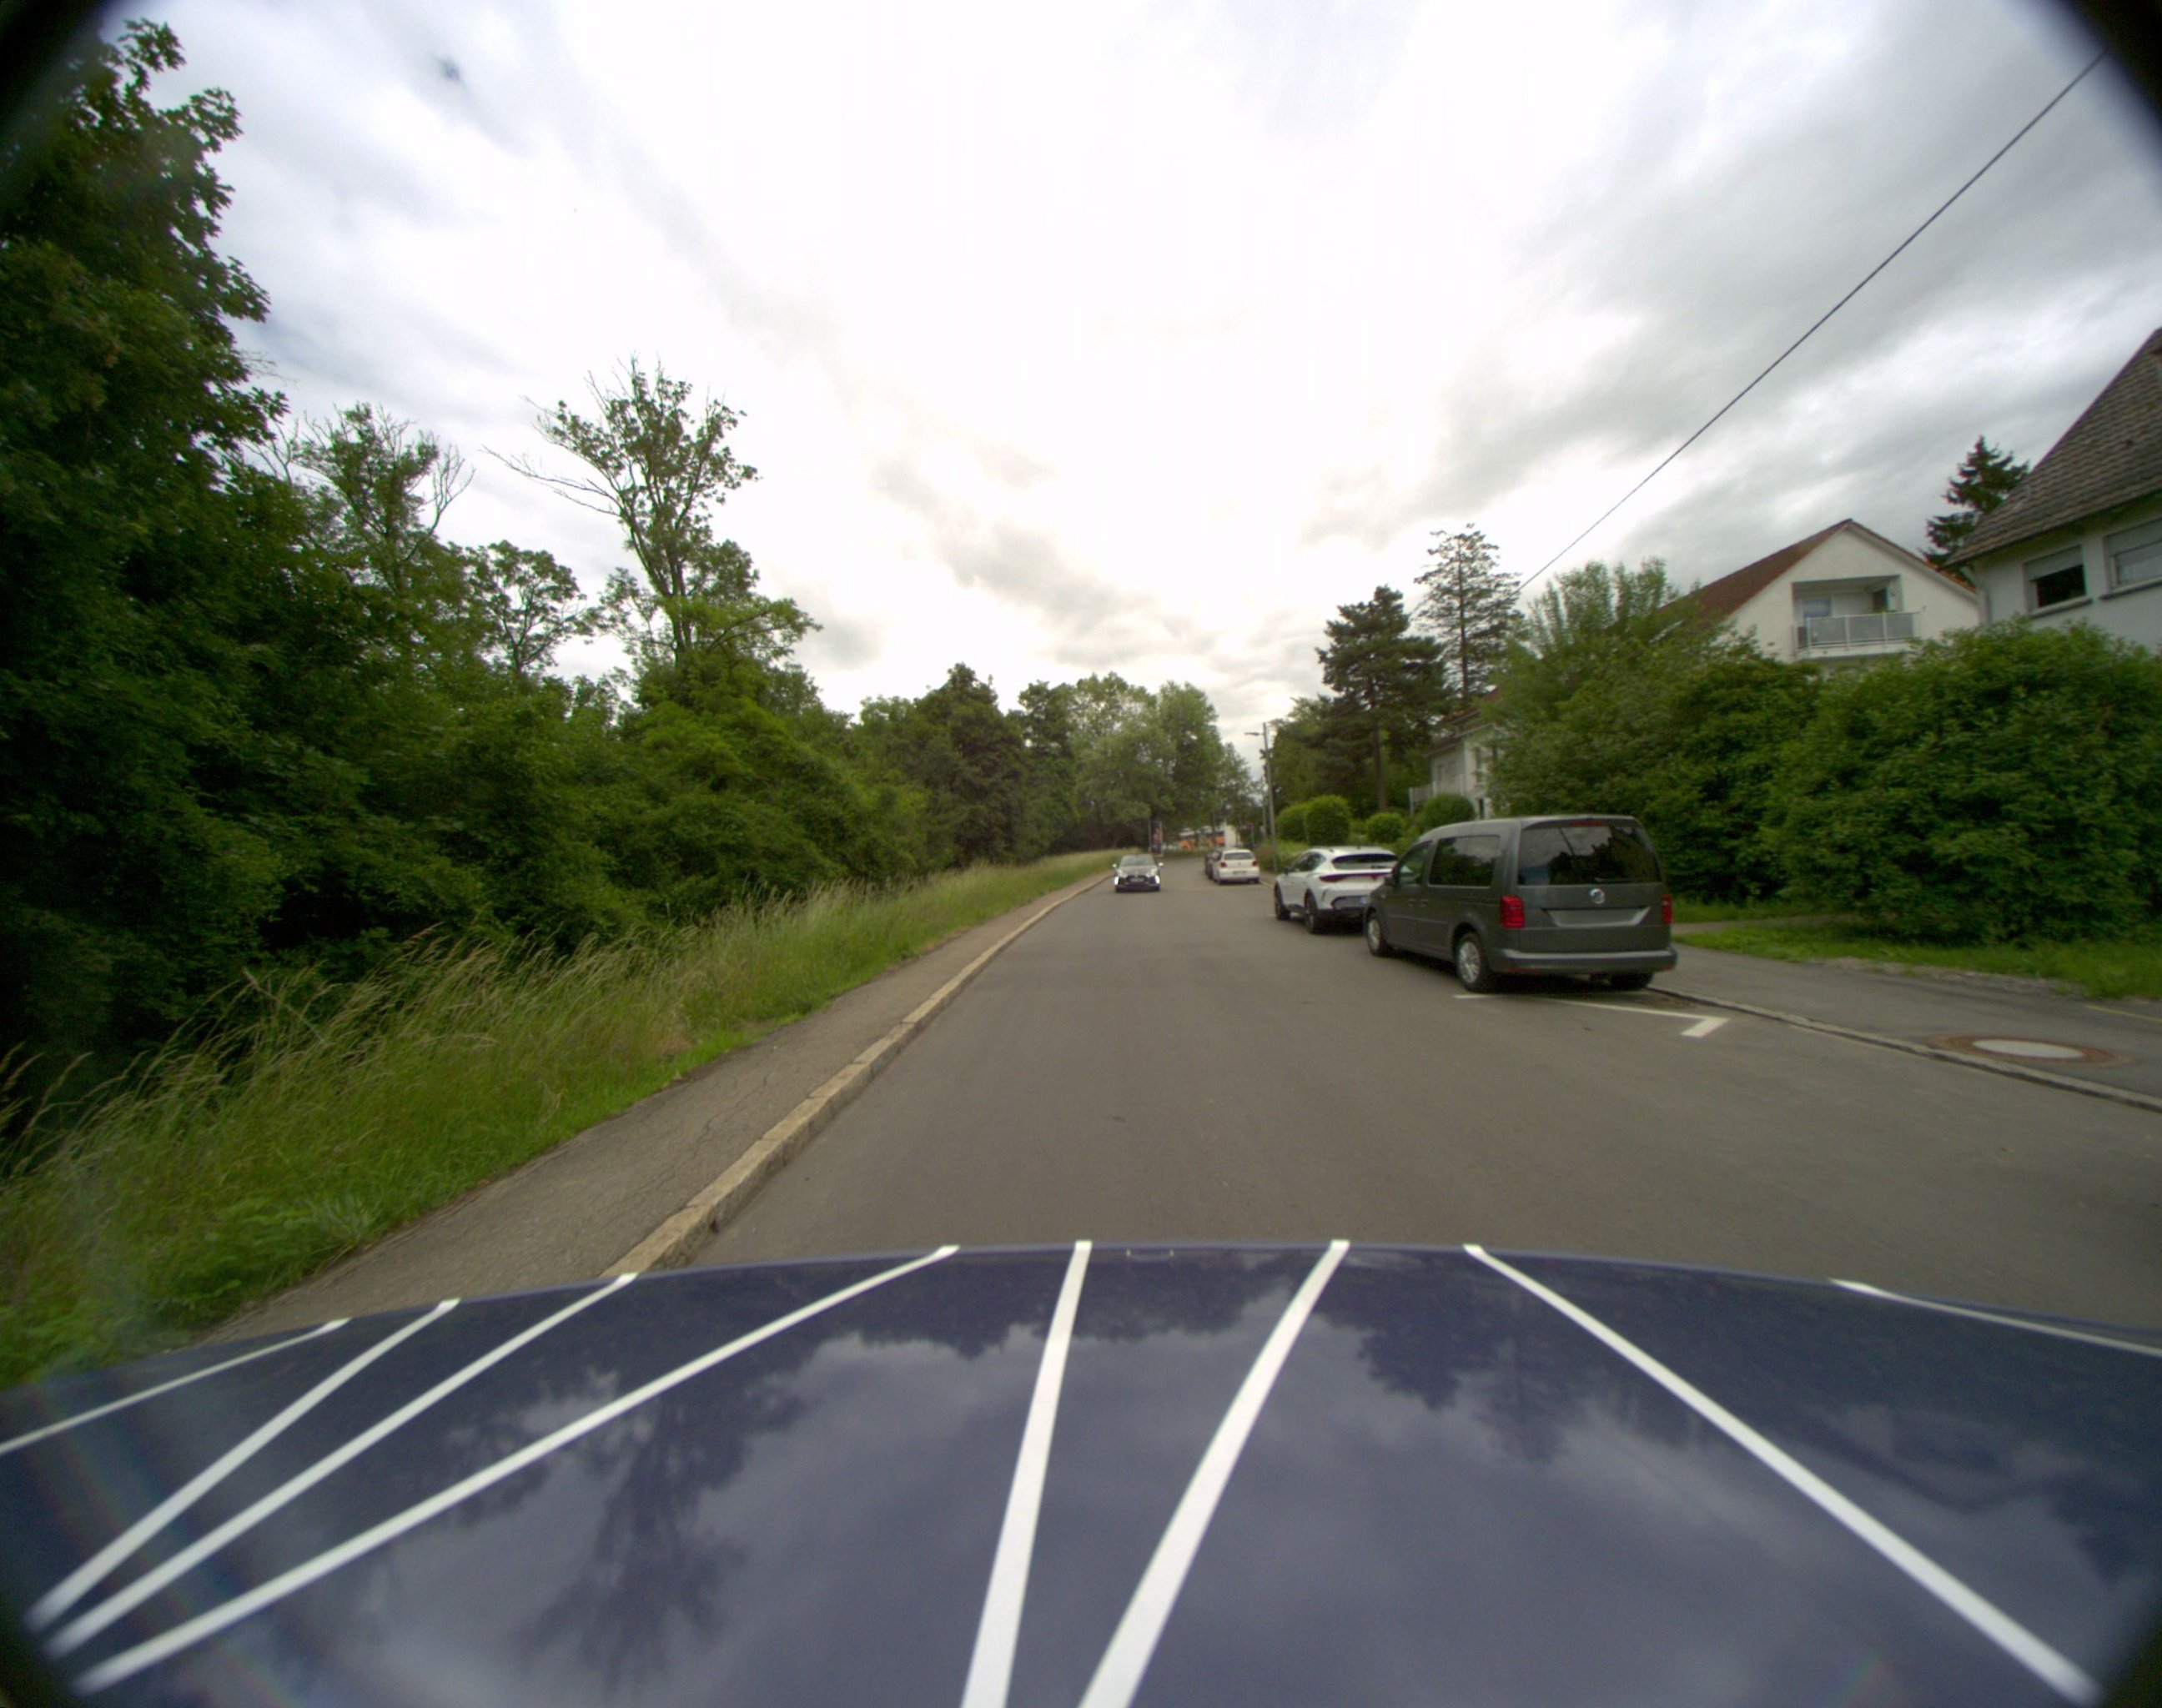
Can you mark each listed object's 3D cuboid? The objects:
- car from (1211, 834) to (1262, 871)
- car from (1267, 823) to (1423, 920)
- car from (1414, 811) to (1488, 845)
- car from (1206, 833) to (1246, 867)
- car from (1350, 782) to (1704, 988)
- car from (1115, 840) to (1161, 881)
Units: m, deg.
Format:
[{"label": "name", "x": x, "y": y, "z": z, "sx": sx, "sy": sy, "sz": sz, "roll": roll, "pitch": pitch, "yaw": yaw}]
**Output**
[{"label": "car", "x": 6.597, "y": -0.071, "z": 32.503, "sx": 1.736, "sy": 1.420, "sz": 3.458, "roll": -3, "pitch": 1, "yaw": 6}, {"label": "car", "x": 4.735, "y": 0.254, "z": 14.246, "sx": 1.665, "sy": 1.497, "sz": 4.045, "roll": -2, "pitch": 1, "yaw": 3}, {"label": "car", "x": 15.710, "y": -1.072, "z": 32.444, "sx": 1.649, "sy": 1.324, "sz": 3.905, "roll": -2, "pitch": 1, "yaw": 8}, {"label": "car", "x": 6.975, "y": -0.205, "z": 36.796, "sx": 1.605, "sy": 1.521, "sz": 3.589, "roll": -2, "pitch": 1, "yaw": 7}, {"label": "car", "x": 4.757, "y": 0.255, "z": 8.907, "sx": 1.800, "sy": 1.790, "sz": 4.064, "roll": -2, "pitch": 1, "yaw": 2}, {"label": "car", "x": 2.288, "y": 0.222, "z": 29.879, "sx": 1.619, "sy": 1.460, "sz": 4.001, "roll": -2, "pitch": 1, "yaw": 6}]
